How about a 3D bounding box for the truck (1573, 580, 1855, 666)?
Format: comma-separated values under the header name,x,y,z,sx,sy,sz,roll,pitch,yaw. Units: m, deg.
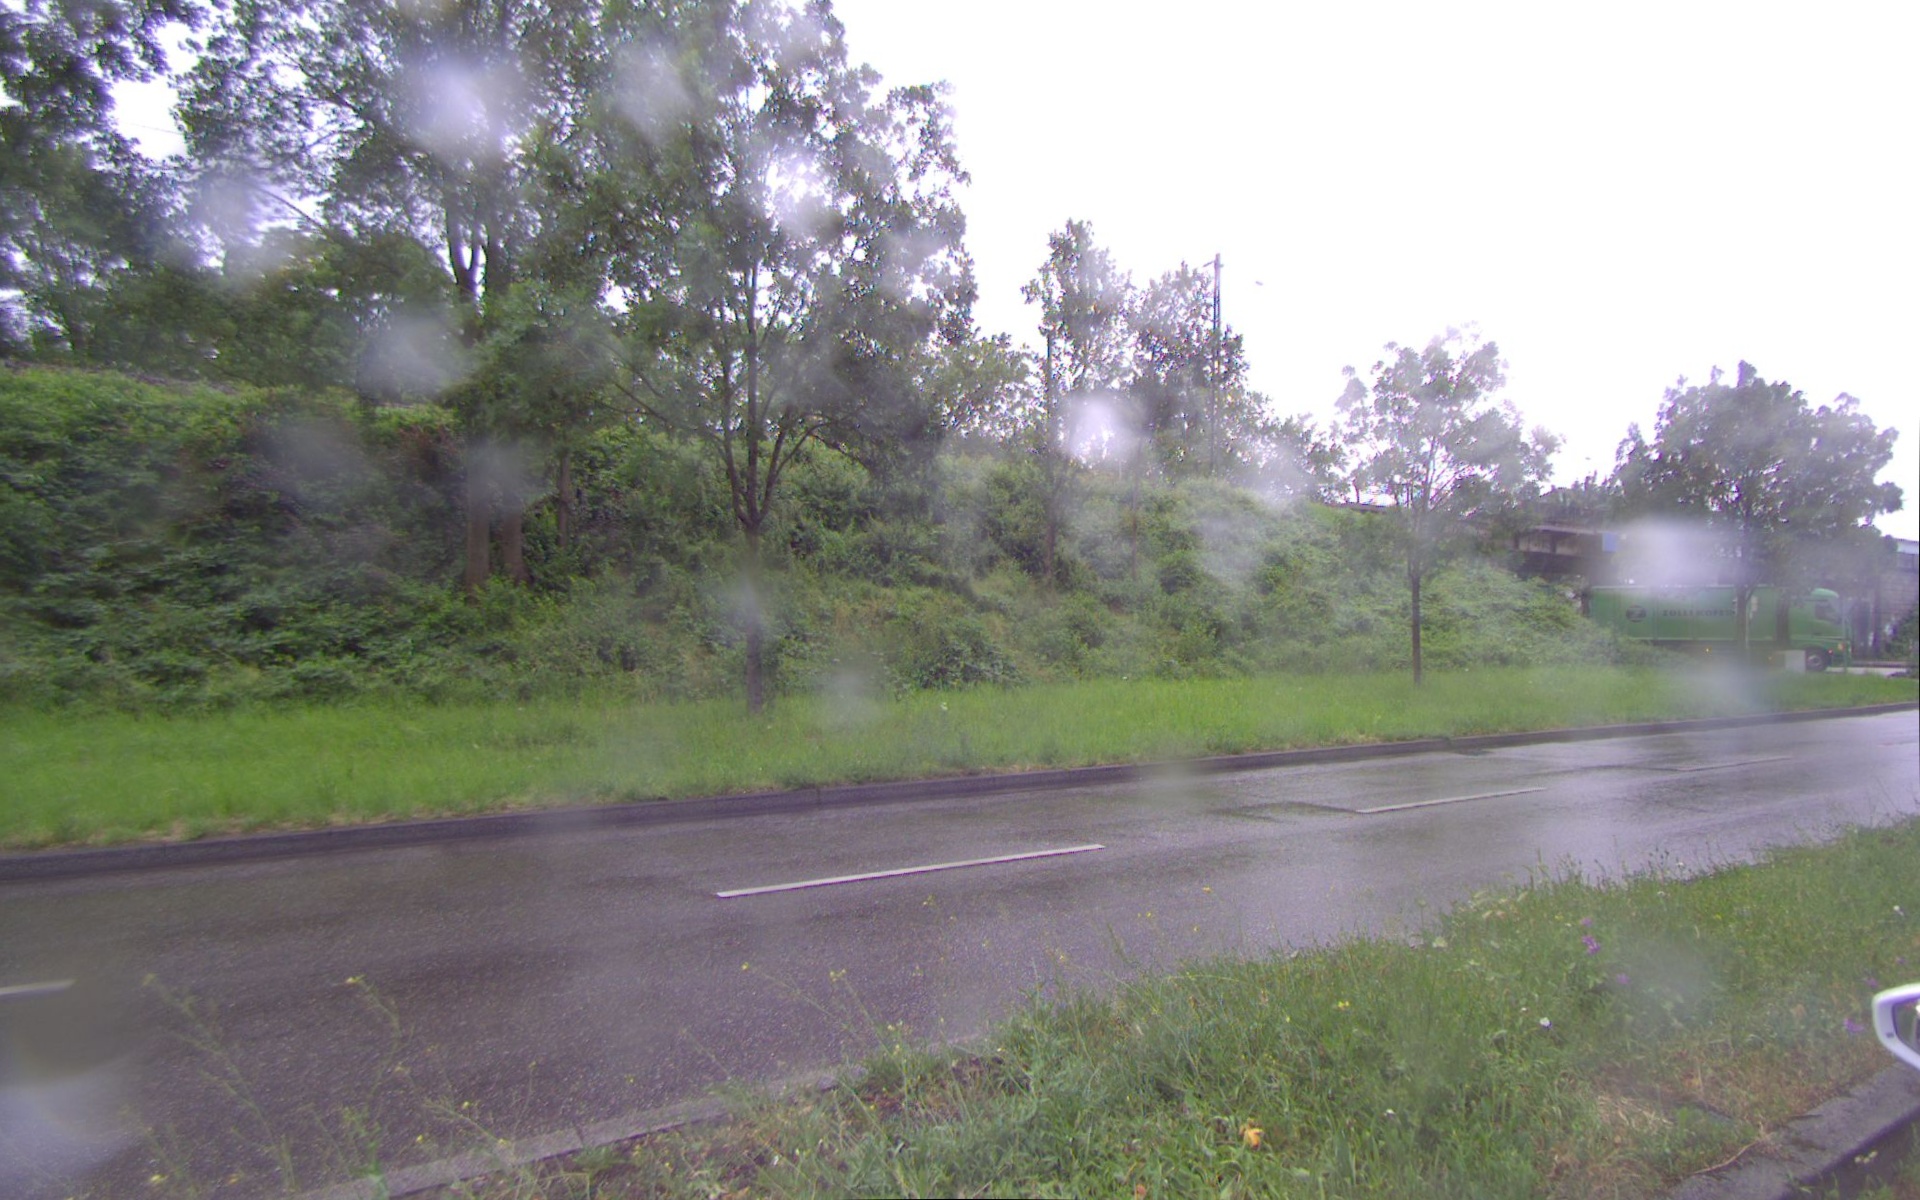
name,x,y,z,sx,sy,sz,roll,pitch,yaw
truck,34.384,1.000,46.394,9.947,3.497,2.657,2,-1,24
